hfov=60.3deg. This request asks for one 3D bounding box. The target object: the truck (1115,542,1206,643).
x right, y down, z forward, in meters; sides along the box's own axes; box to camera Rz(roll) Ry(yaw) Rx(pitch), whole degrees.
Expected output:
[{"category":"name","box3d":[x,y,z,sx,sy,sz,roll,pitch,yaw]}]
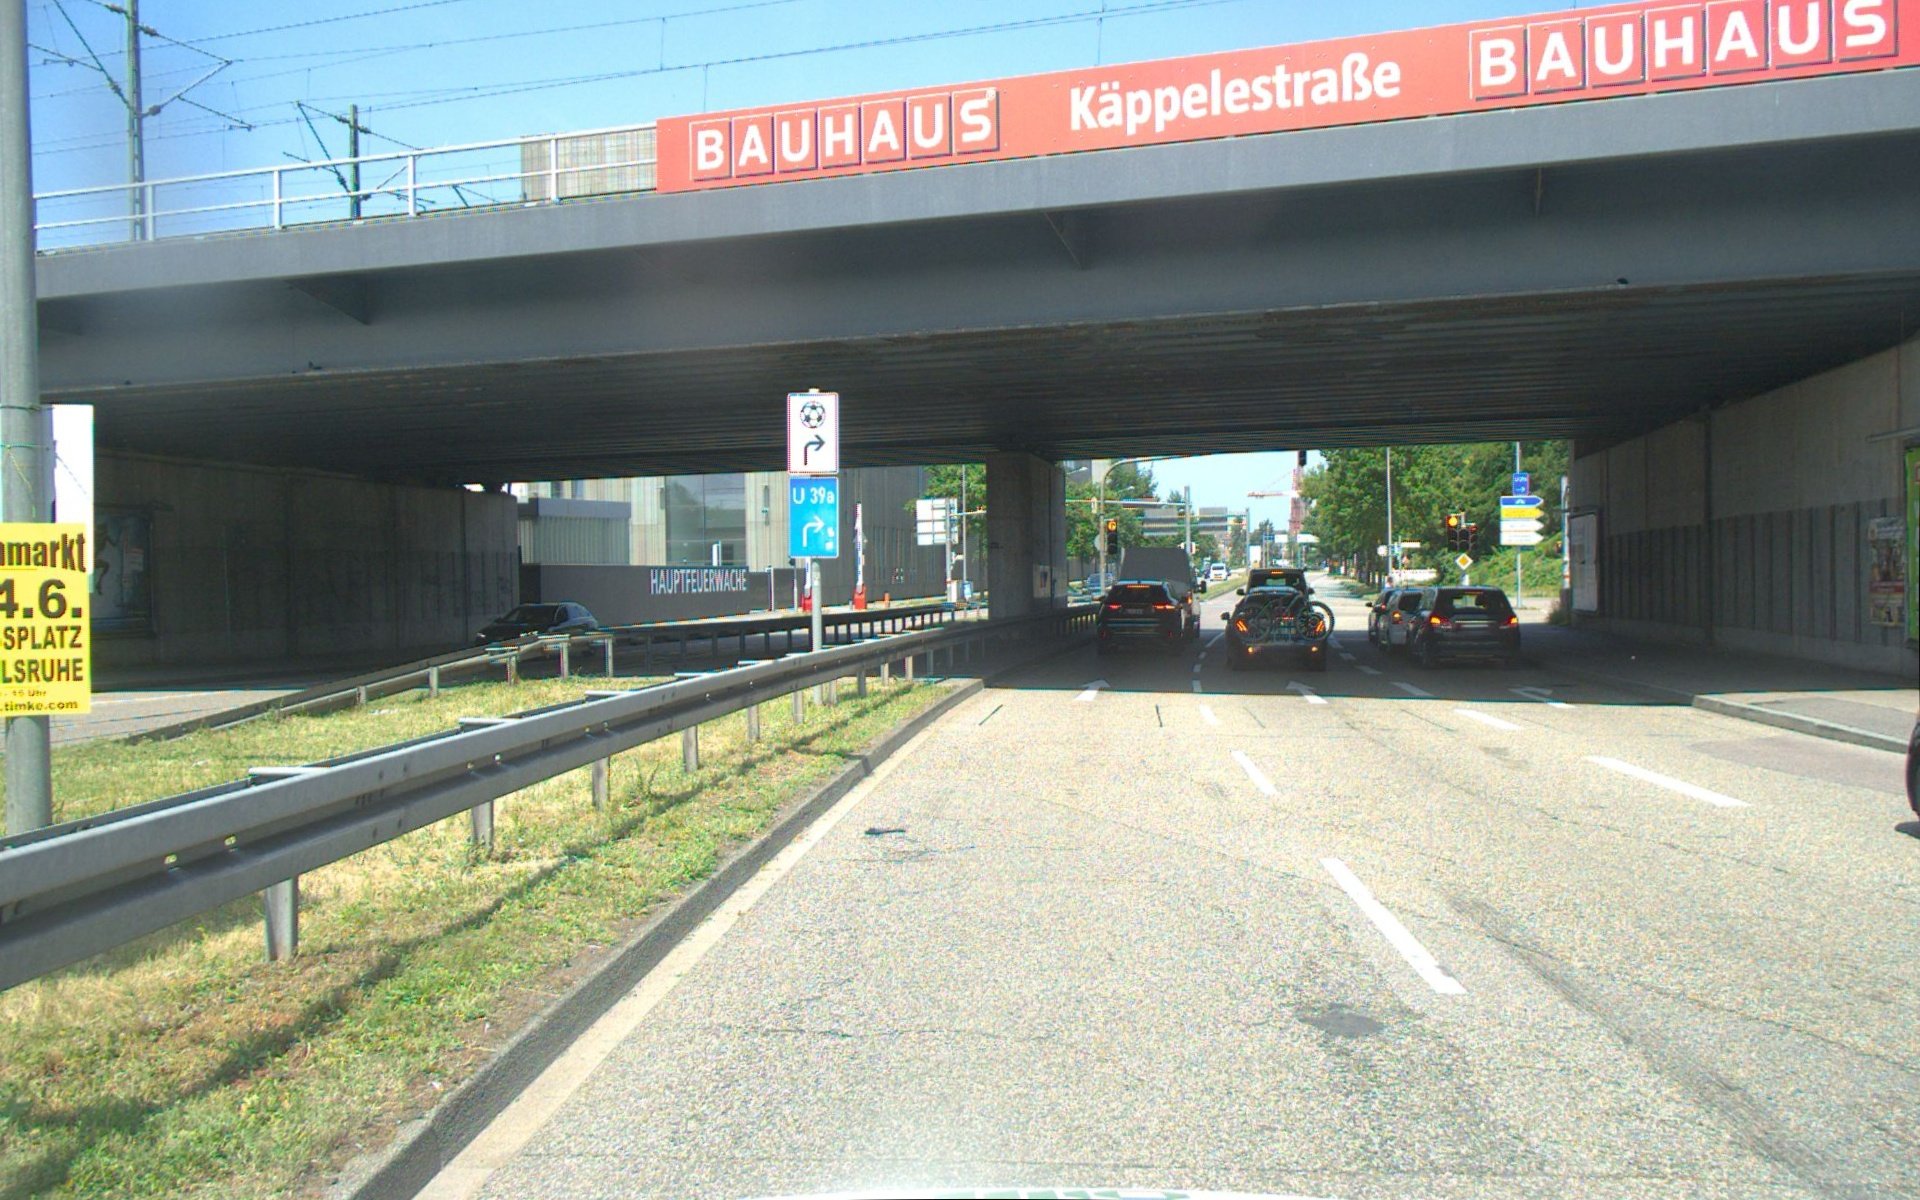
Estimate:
[{"category":"truck","box3d":[5.556,-0.209,45.416,2.023,2.582,4.004,-2,0,12]}]

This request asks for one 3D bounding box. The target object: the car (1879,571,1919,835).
[{"category":"car","box3d":[6.681,0.640,8.593,1.730,1.627,4.079,0,0,3]}]

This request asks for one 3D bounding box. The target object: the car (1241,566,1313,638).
[{"category":"car","box3d":[8.950,0.058,46.912,1.801,1.923,4.003,-1,0,8]}]

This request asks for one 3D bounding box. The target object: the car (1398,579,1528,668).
[{"category":"car","box3d":[9.641,0.430,31.984,1.801,1.596,4.003,-1,0,8]}]

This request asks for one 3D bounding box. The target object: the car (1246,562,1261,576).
[{"category":"car","box3d":[43.802,-4.609,246.967,1.951,2.049,4.003,-1,0,7]}]

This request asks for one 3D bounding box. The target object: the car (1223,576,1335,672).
[{"category":"car","box3d":[5.929,0.413,31.014,1.915,1.662,4.284,0,0,10]}]

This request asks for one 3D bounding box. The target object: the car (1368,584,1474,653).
[{"category":"car","box3d":[10.653,0.417,38.463,1.864,1.515,4.003,-1,0,8]}]

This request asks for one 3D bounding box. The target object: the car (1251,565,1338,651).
[{"category":"car","box3d":[7.912,0.179,39.393,1.801,1.923,4.003,-1,0,8]}]

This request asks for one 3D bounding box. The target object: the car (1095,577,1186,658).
[{"category":"car","box3d":[4.220,0.385,38.216,1.899,1.751,4.003,-1,0,9]}]

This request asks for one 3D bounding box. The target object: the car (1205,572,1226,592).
[{"category":"car","box3d":[27.927,-2.003,180.840,1.951,2.049,4.004,-3,0,11]}]

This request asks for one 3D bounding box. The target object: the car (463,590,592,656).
[{"category":"car","box3d":[-11.337,0.580,43.636,1.814,1.651,4.003,-1,0,9]}]

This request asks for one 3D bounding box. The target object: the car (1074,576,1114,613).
[{"category":"car","box3d":[8.076,-0.344,99.374,1.951,2.049,4.003,-3,0,10]}]
